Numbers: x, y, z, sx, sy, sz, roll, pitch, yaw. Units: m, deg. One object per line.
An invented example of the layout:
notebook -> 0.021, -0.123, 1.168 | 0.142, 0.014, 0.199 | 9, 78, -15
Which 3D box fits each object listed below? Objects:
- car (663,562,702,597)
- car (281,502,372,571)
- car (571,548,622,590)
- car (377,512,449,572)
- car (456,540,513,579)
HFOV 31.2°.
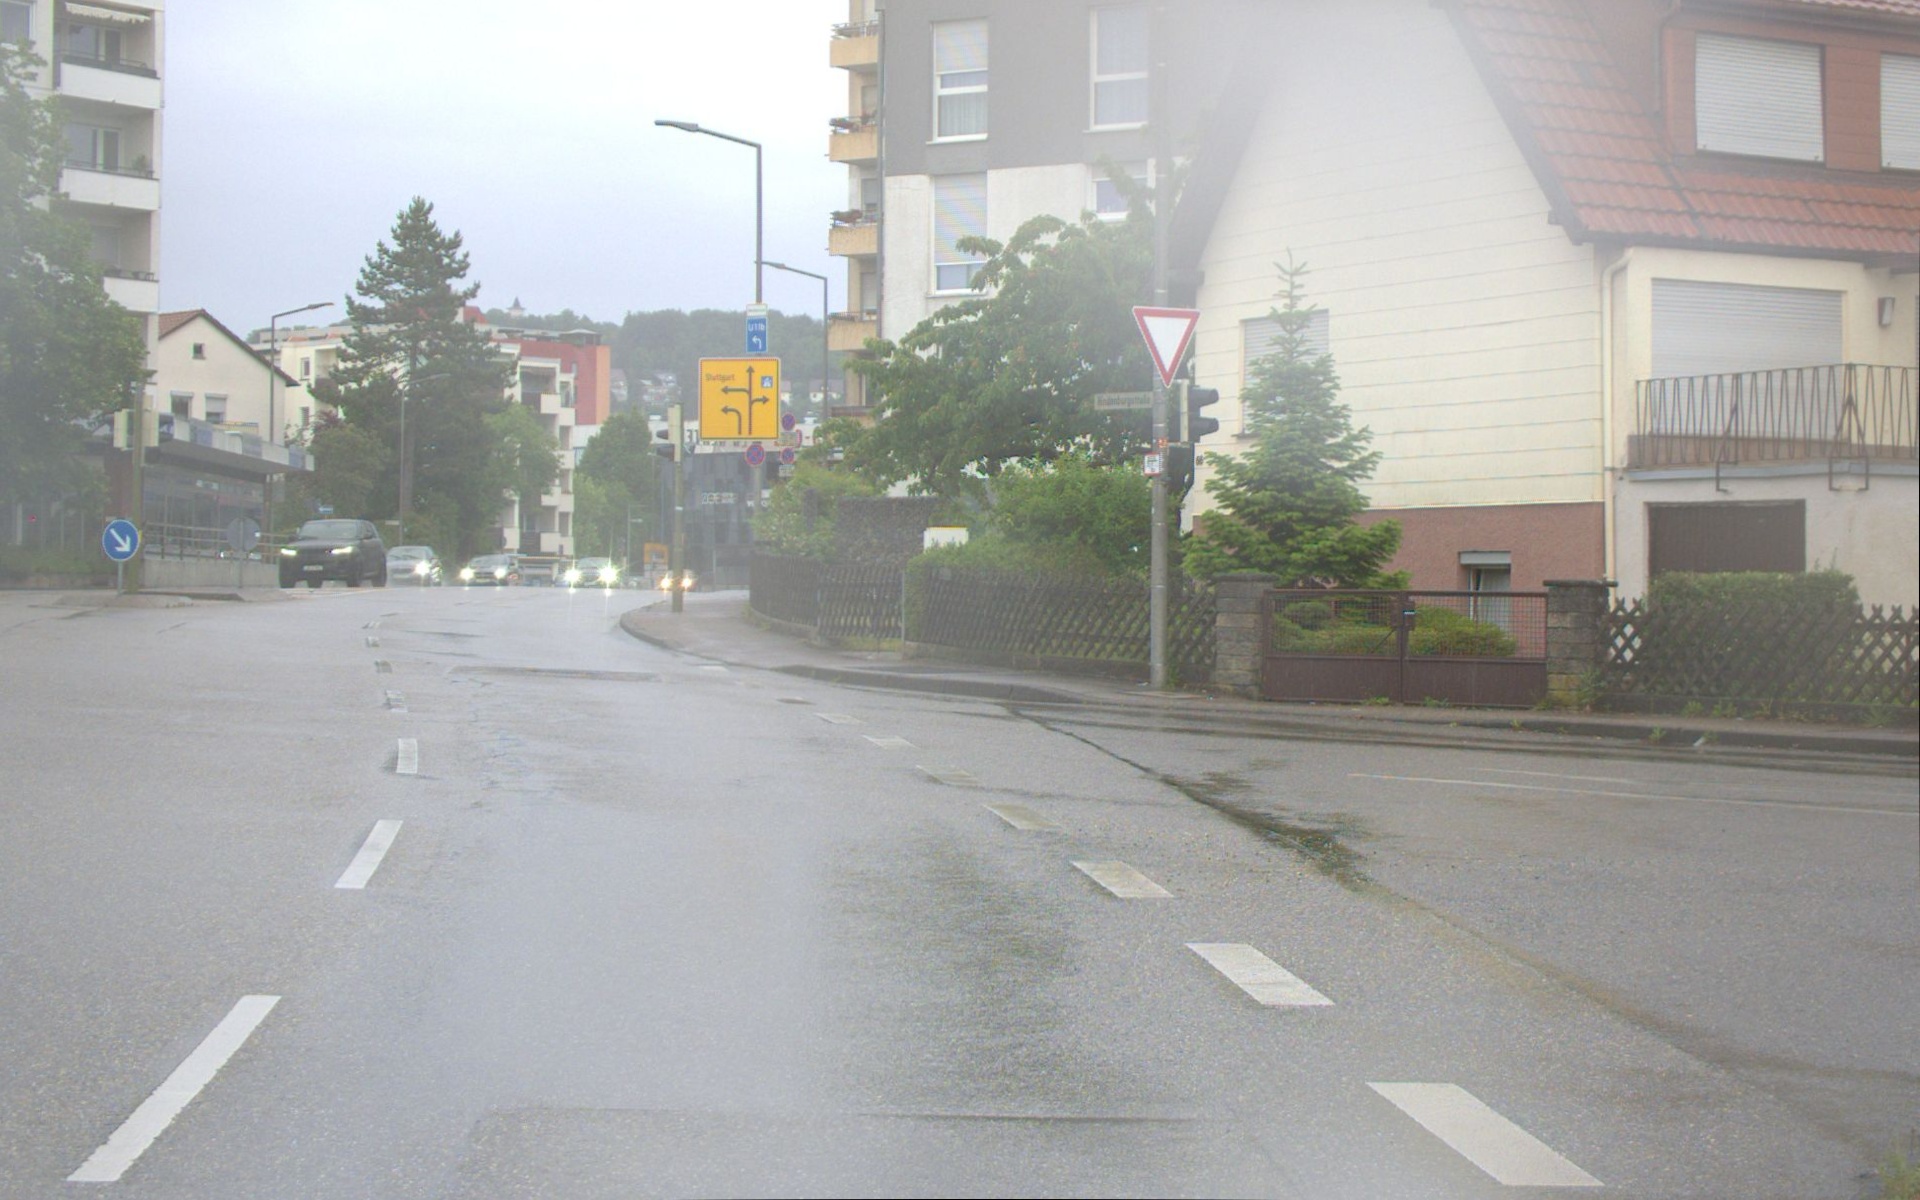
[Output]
car -> -14.689, -1.071, 181.681 | 1.993, 1.805, 4.001 | 1, 1, -5
car -> -16.560, -1.652, 90.098 | 1.993, 1.731, 5.182 | 1, 1, -7
car -> -14.921, -1.286, 141.309 | 1.993, 1.673, 4.001 | 1, 1, -5
car -> -17.698, -1.863, 111.316 | 1.993, 1.897, 4.001 | 1, 1, -5
car -> -18.412, -1.554, 133.299 | 1.993, 1.458, 4.001 | 1, 1, -5
